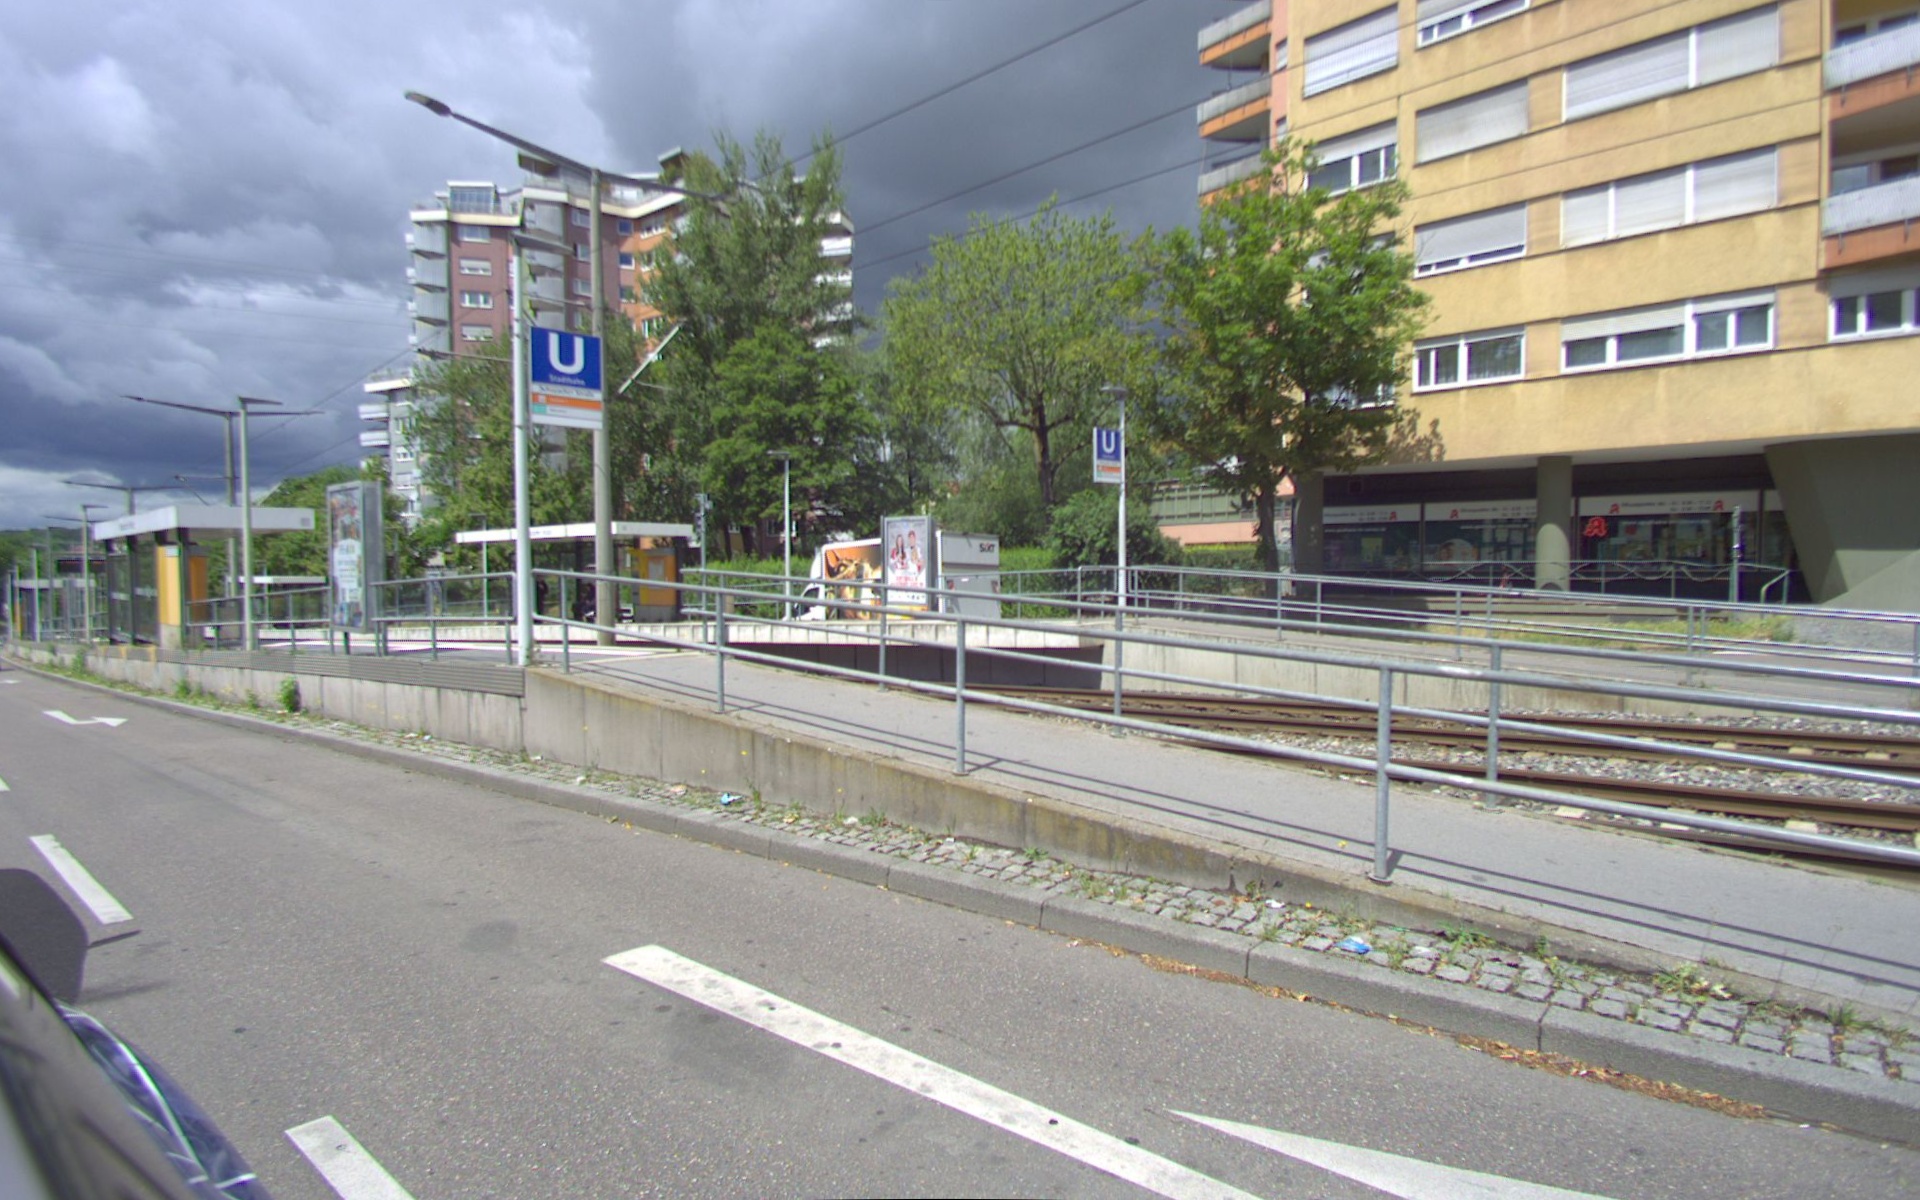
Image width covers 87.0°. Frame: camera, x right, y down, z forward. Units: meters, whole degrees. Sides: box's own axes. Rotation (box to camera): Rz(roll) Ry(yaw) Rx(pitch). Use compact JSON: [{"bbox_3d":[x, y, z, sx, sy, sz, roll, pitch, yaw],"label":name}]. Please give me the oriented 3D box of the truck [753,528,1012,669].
[{"bbox_3d":[-2.250,0.066,26.642,7.260,3.247,2.389,-2,-1,42],"label":"truck"}]
